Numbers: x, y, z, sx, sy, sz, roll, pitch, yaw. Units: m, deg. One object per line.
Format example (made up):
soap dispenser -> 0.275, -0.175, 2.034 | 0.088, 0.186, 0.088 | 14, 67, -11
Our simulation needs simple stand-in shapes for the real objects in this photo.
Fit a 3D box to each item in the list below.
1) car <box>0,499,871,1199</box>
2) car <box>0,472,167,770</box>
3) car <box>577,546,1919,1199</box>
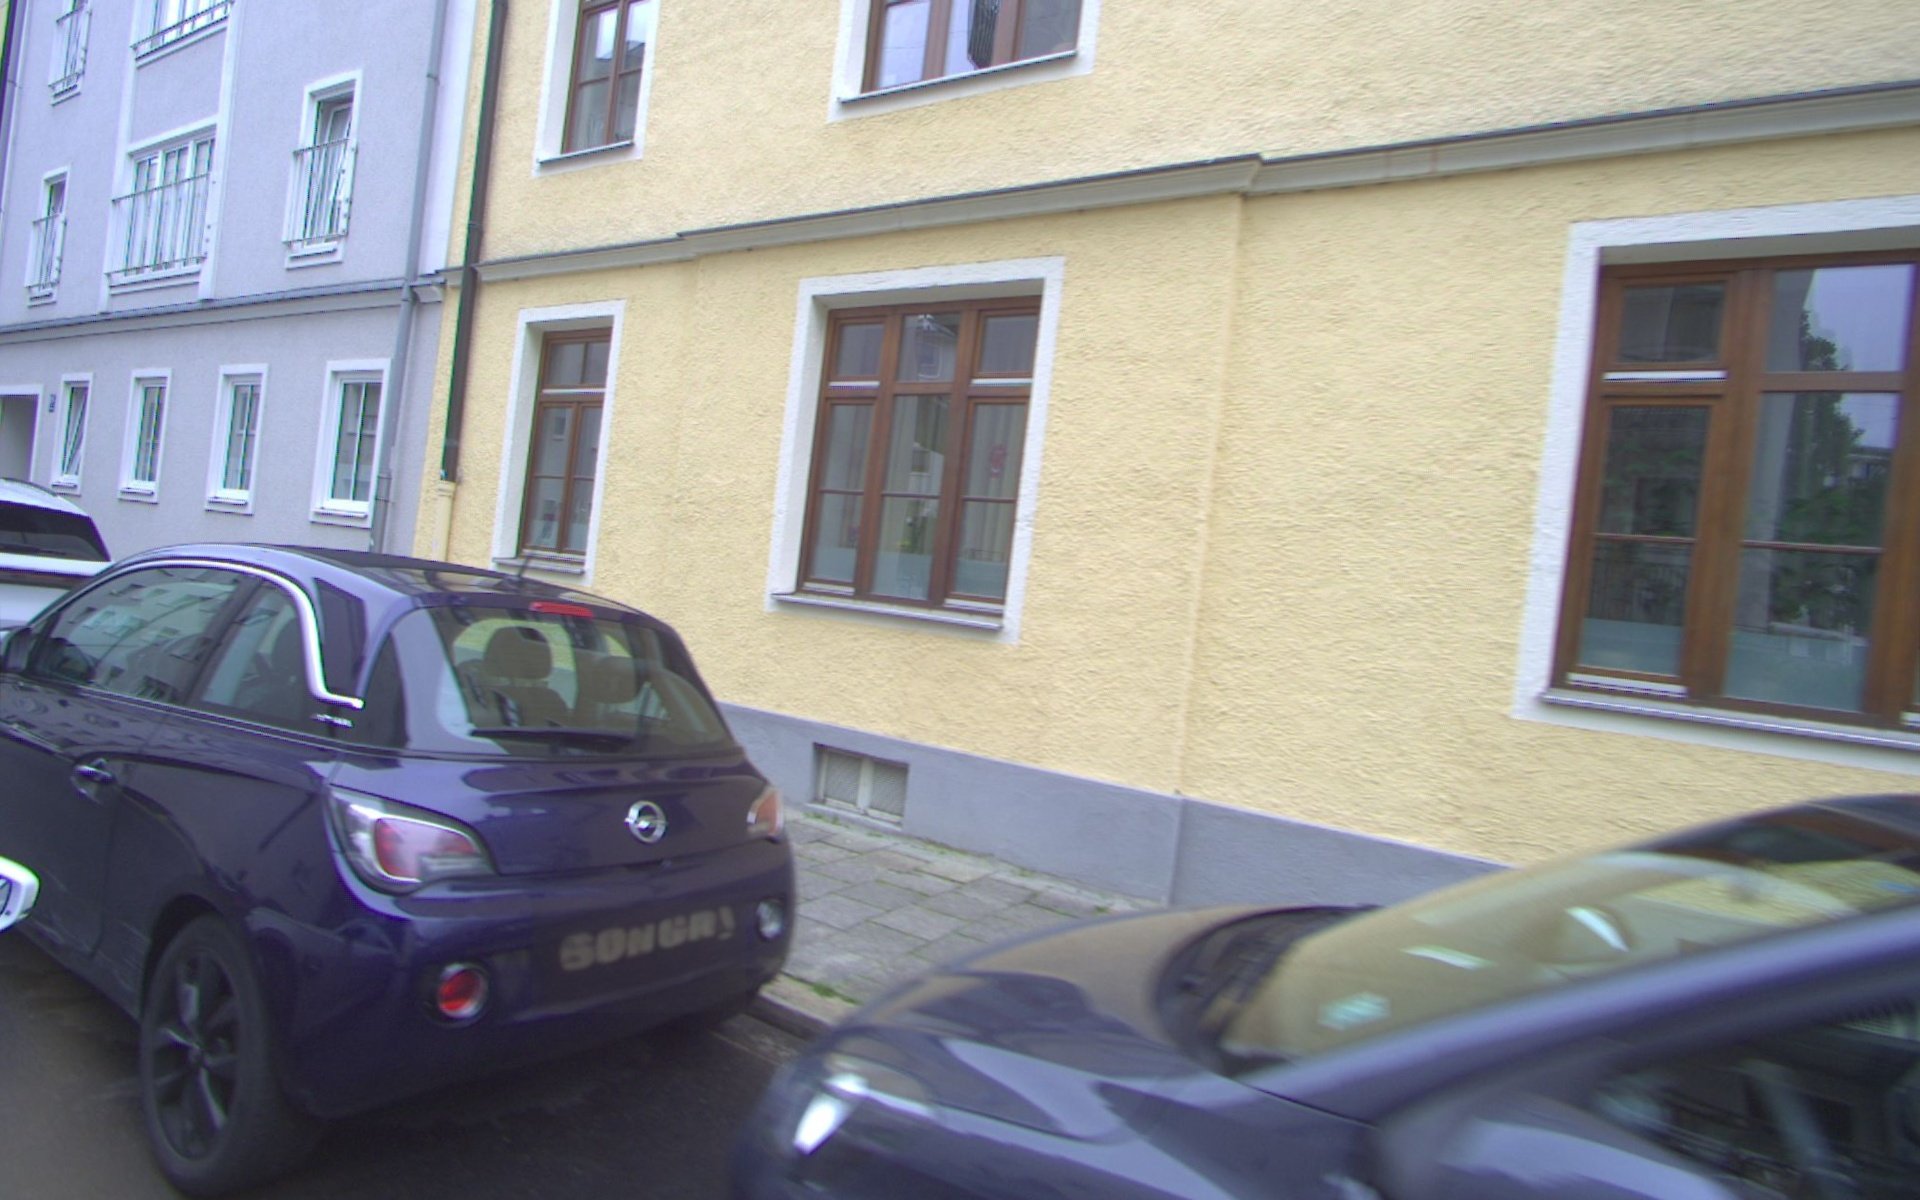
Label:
car -> -2.405, 0.559, 3.697 | 3.756, 1.485, 1.668 | 7, -3, 33
car -> -7.053, -0.129, 6.341 | 4.342, 1.585, 1.686 | 7, -3, 32
car -> 1.745, 0.996, 1.080 | 4.269, 1.485, 1.756 | 7, -3, 30
